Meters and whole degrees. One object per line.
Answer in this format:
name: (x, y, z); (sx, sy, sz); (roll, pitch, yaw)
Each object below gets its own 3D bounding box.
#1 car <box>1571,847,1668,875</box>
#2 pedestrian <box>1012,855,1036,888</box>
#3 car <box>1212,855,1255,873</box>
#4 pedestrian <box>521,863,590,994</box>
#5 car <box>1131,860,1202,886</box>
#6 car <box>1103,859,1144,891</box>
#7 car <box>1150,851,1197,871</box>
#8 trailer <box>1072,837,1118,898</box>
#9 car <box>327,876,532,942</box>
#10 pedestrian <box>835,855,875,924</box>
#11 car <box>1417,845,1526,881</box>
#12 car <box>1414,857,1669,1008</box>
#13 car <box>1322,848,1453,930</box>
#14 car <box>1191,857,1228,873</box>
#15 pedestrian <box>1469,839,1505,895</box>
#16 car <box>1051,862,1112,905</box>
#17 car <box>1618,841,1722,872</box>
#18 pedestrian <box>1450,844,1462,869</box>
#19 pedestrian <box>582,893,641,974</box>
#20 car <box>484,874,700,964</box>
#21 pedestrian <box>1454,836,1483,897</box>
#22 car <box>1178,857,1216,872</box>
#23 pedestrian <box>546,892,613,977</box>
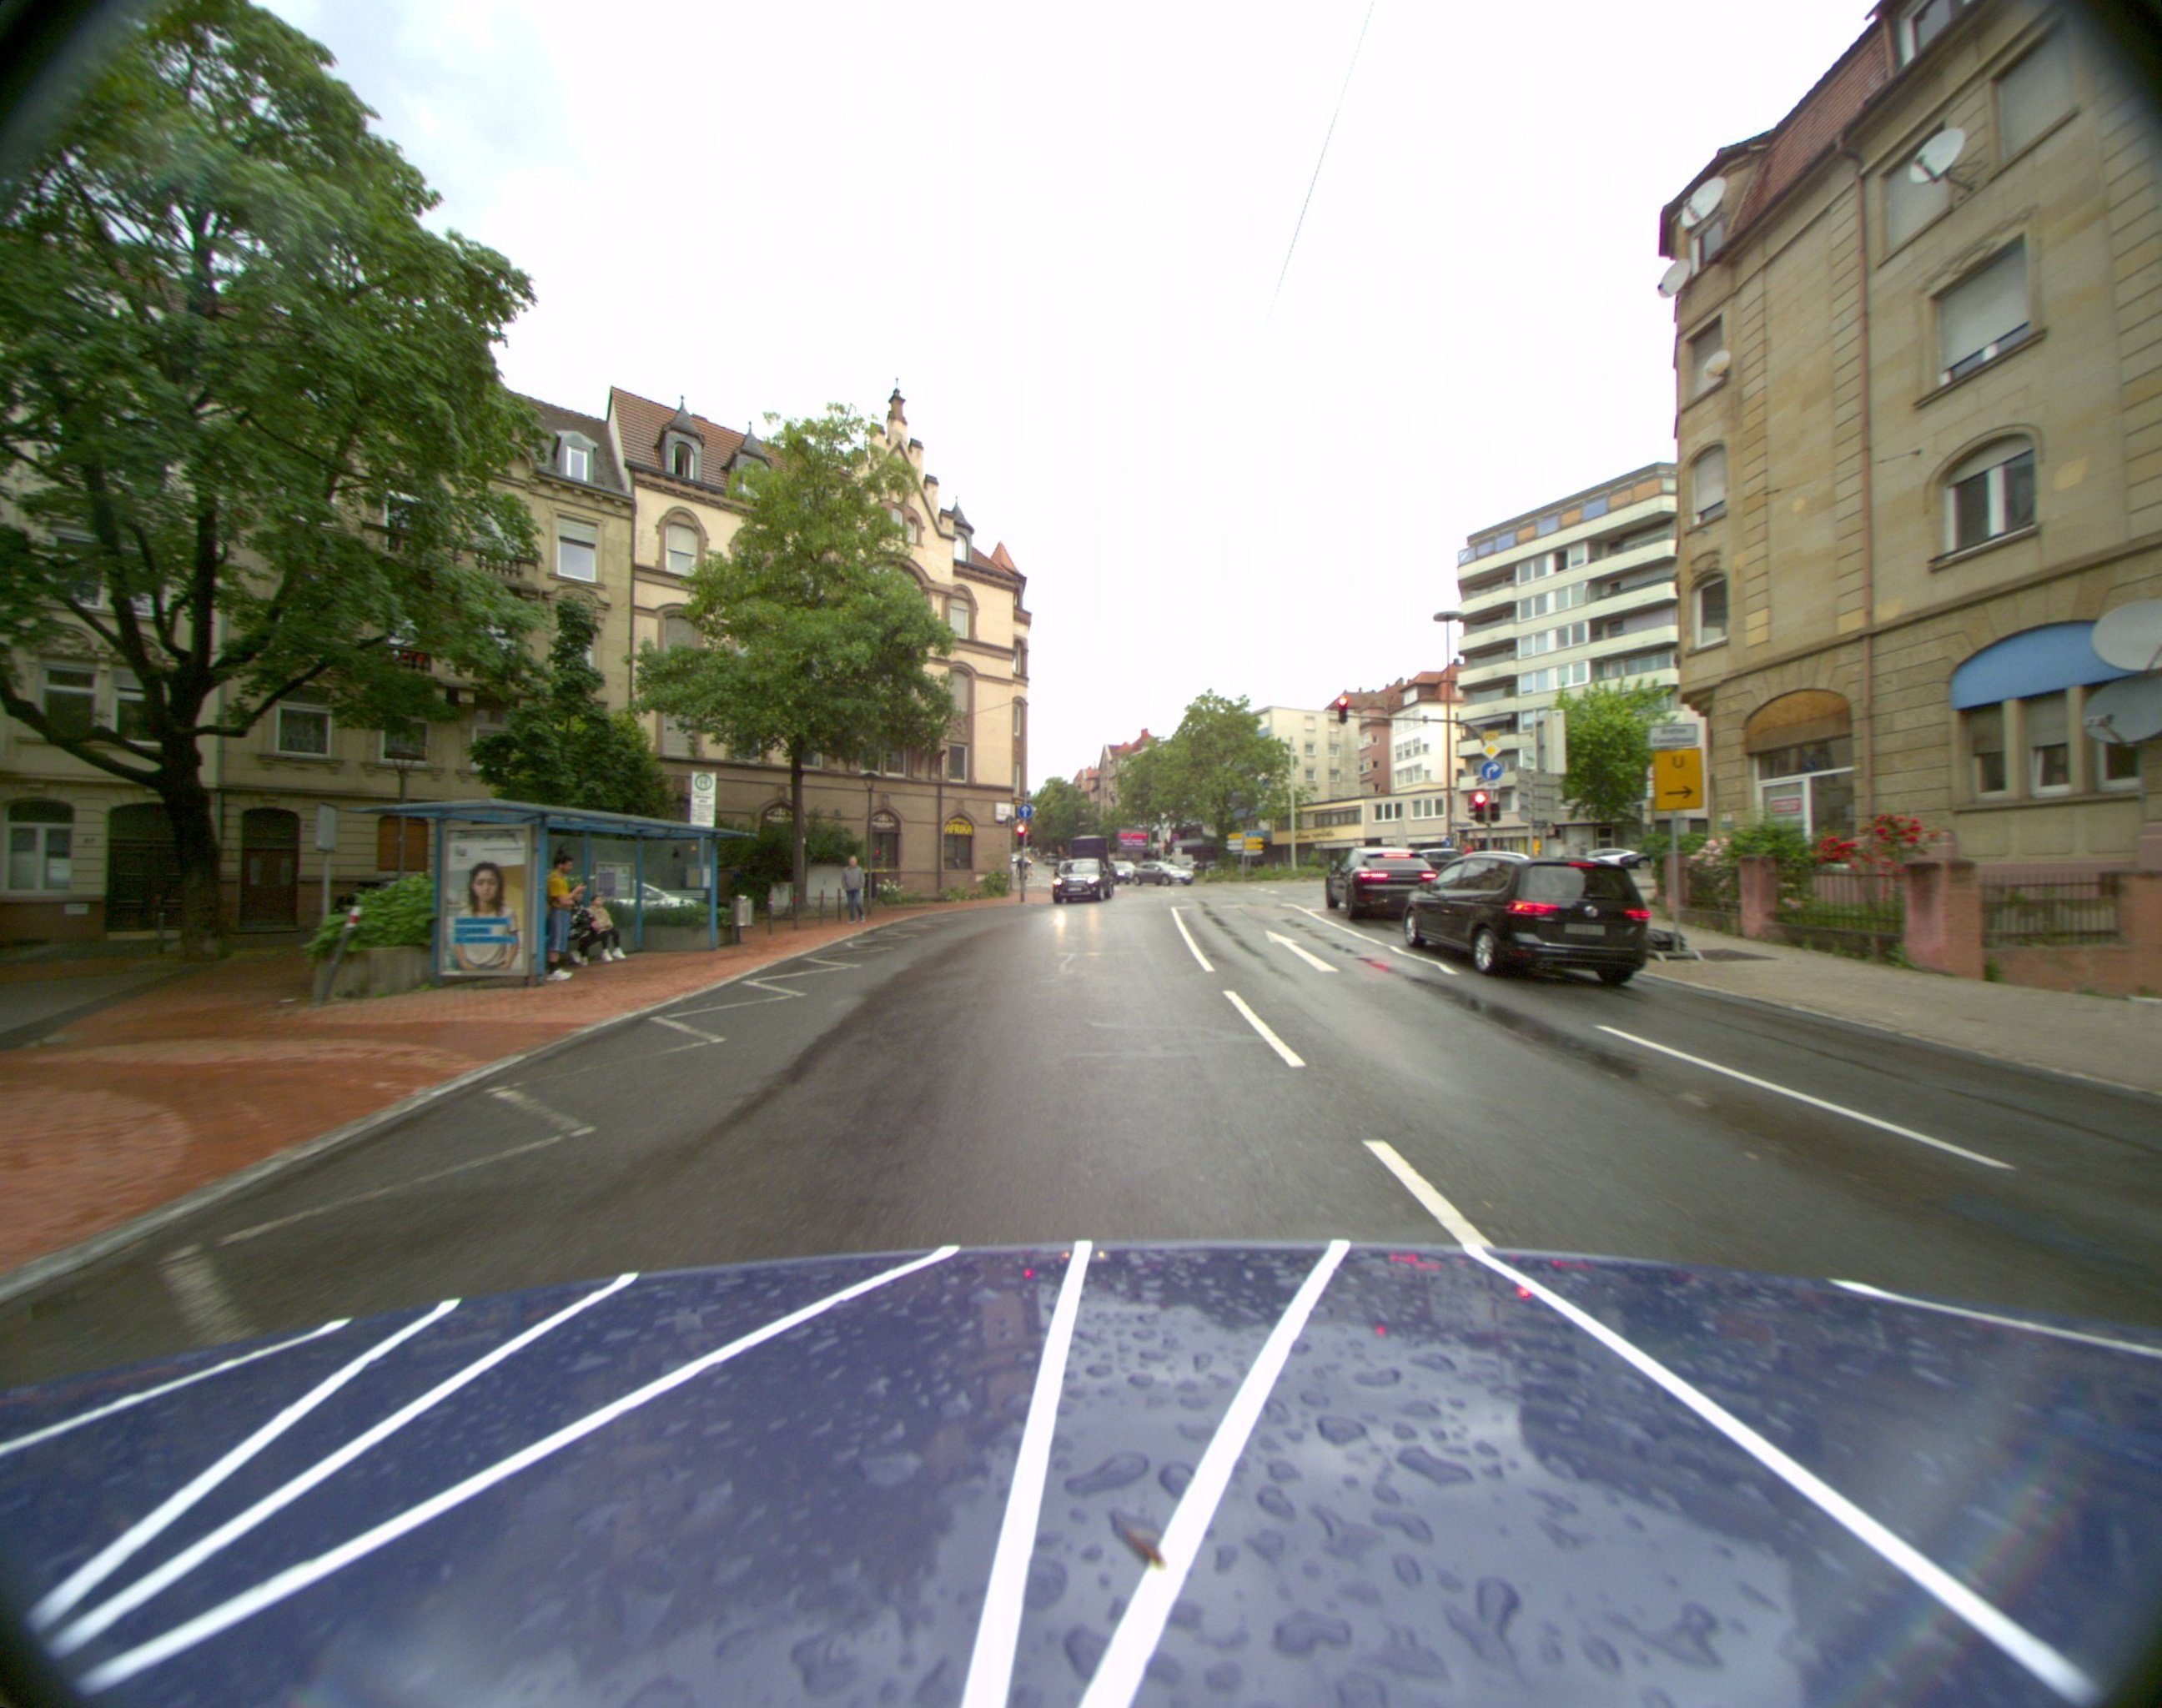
car: (31.947, 0.393, 45.251); (4.383, 1.482, 1.917); (-2, 0, 22)
pedestrian: (-2.896, 0.899, 38.741); (0.896, 1.669, 0.828); (0, 0, -41)
car: (15.140, 0.991, 75.364); (4.224, 1.633, 1.936); (-2, 1, -37)
pedestrian: (-7.397, 1.022, 10.702); (0.559, 1.765, 0.546); (-2, 0, 29)
car: (5.092, 1.123, 45.549); (1.761, 1.474, 4.170); (-1, 0, -38)
car: (2.875, 1.406, 52.749); (1.916, 2.002, 4.505); (-2, 1, -9)
car: (10.318, 0.735, 84.921); (4.983, 1.966, 1.876); (-2, 1, -28)
trailer: (0.712, 0.586, 35.122); (1.938, 2.621, 4.685); (-1, 0, 2)
car: (-17.729, 1.449, 20.912); (1.768, 1.467, 3.856); (-2, 0, 22)
pedestrian: (-5.860, 0.913, 19.693); (0.572, 1.723, 0.733); (-2, 0, 27)
car: (18.452, 0.420, 36.080); (4.208, 1.526, 1.759); (-2, 0, 10)
car: (6.272, 0.906, 10.990); (1.623, 1.639, 4.423); (3, 1, 10)
car: (7.373, 0.752, 18.827); (1.968, 1.683, 4.810); (-1, 1, 9)
car: (13.253, 1.124, 78.186); (3.628, 1.408, 1.626); (-2, 1, -37)
pedestrian: (12.689, 0.403, 23.777); (0.638, 1.692, 0.829); (-2, 0, 3)
car: (0.090, 1.072, 29.296); (1.861, 1.503, 3.684); (0, 0, 8)
car: (31.128, 0.166, 40.303); (4.014, 1.482, 1.770); (-2, -2, 22)
pedestrian: (25.059, 0.150, 50.748); (0.618, 1.683, 0.626); (-1, 1, 36)
pedestrian: (-7.741, 1.303, 12.548); (0.570, 1.272, 0.535); (-2, 0, 10)
car: (-10.531, 1.329, 16.476); (3.681, 1.493, 1.766); (-4, 0, -40)
pedestrian: (11.527, 0.369, 22.609); (0.523, 1.763, 0.694); (-2, 0, 7)
car: (12.264, 1.104, 80.246); (3.711, 1.408, 1.807); (-2, 1, -33)
pedestrian: (-7.870, 1.253, 11.941); (0.570, 1.272, 0.619); (-2, 0, 11)
